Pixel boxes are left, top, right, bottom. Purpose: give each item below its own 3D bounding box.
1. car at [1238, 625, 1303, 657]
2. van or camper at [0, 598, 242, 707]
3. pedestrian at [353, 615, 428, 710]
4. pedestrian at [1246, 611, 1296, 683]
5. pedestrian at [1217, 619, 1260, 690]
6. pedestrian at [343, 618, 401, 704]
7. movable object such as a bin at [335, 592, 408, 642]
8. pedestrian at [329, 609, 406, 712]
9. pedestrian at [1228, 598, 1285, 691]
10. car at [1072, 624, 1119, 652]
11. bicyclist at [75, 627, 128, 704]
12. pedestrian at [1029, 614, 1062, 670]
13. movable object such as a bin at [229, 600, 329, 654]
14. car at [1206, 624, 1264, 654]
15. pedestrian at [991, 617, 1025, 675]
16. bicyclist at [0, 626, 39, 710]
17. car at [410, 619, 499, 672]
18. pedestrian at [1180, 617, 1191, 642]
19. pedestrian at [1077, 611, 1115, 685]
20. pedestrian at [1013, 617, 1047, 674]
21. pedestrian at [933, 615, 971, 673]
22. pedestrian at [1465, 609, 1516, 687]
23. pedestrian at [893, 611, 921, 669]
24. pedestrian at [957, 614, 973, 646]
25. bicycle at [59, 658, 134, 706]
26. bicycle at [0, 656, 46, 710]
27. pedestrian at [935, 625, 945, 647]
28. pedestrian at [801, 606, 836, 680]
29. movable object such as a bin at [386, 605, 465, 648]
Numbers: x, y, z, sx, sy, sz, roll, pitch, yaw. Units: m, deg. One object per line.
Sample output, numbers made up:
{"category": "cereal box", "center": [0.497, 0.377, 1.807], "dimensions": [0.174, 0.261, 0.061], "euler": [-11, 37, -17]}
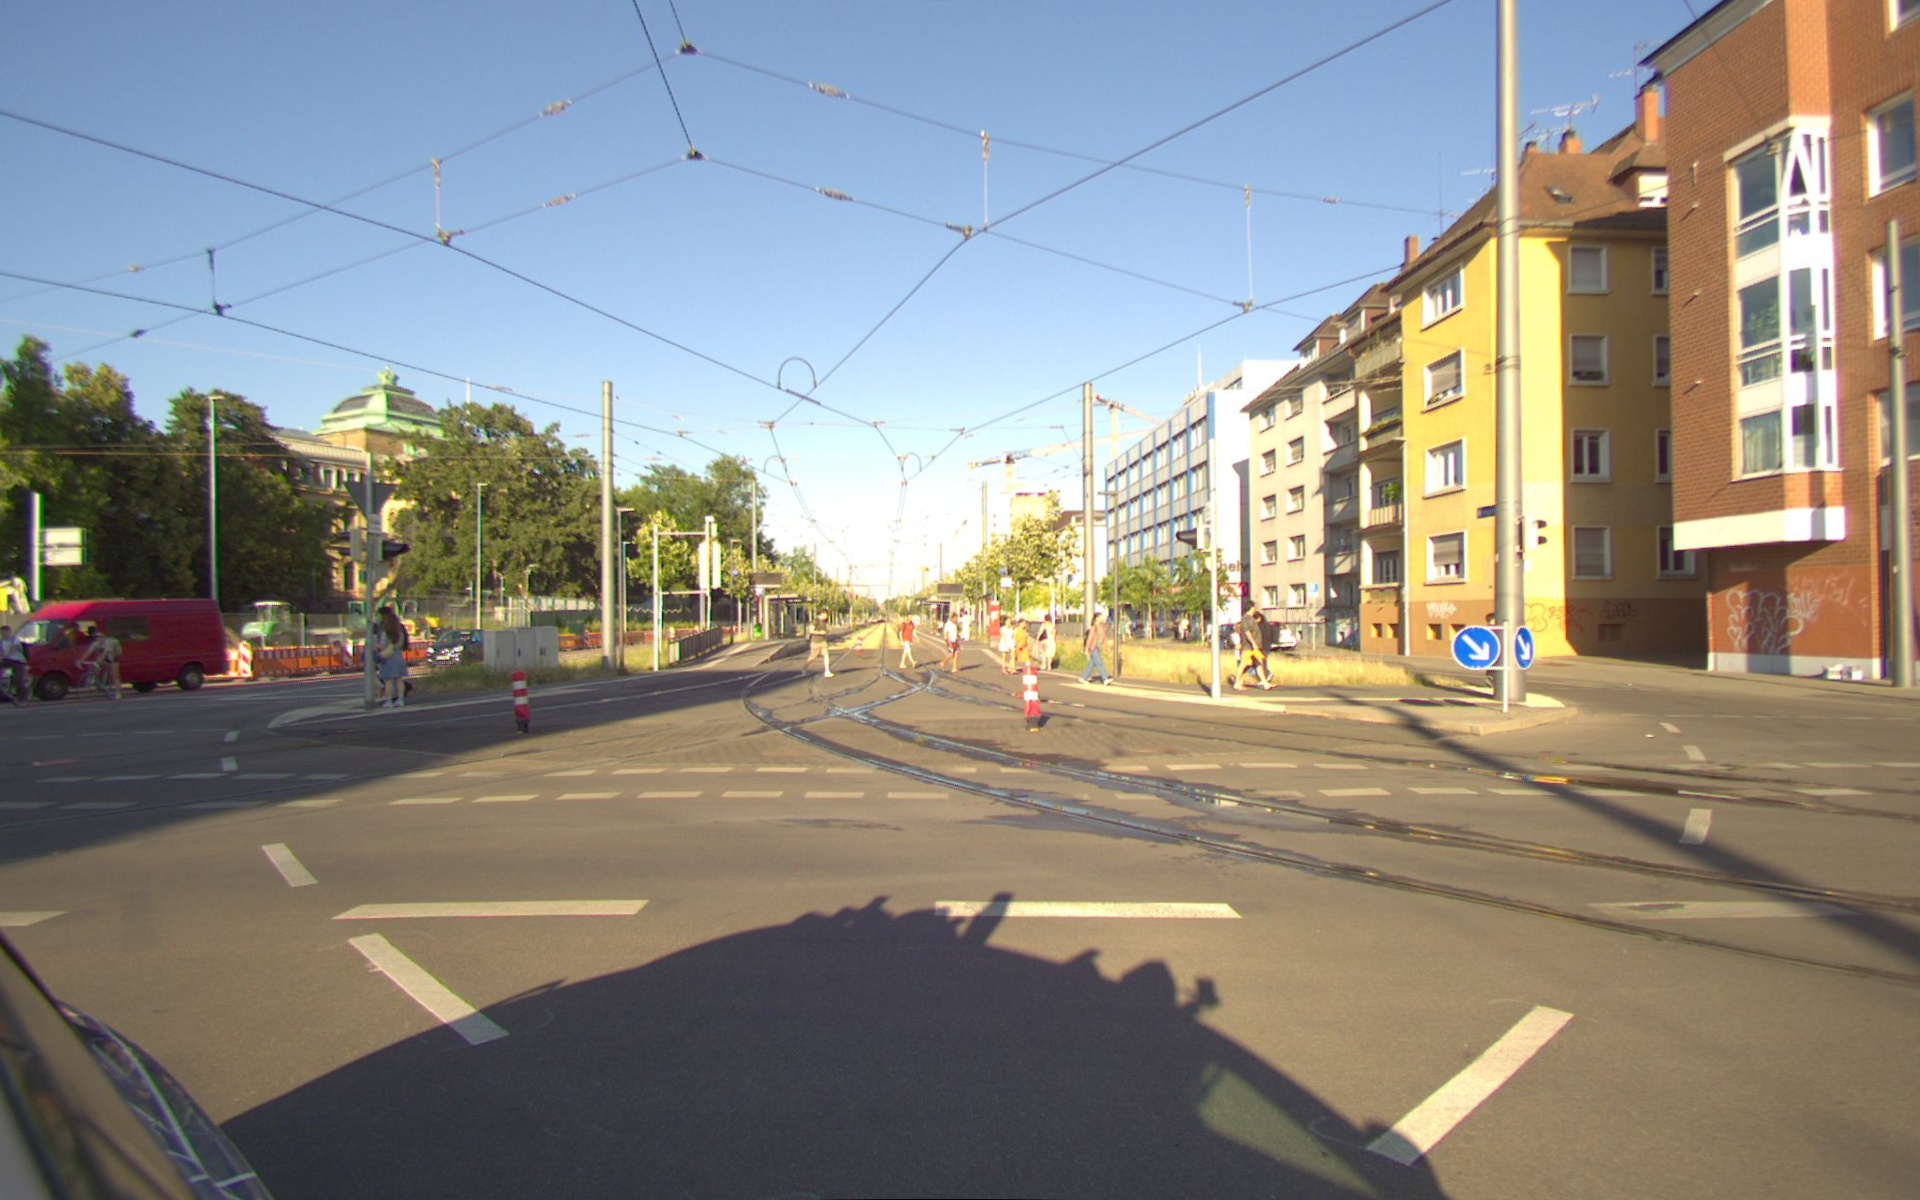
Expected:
{"category": "car", "center": [15.737, 2.055, 51.522], "dimensions": [1.859, 1.519, 3.678], "euler": [-2, -1, -5]}
{"category": "van or camper", "center": [-22.584, 1.283, 26.855], "dimensions": [1.980, 2.548, 5.888], "euler": [-3, -1, 14]}
{"category": "pedestrian", "center": [-10.311, 1.118, 18.339], "dimensions": [0.785, 1.653, 0.891], "euler": [-3, -1, 30]}
{"category": "pedestrian", "center": [7.151, 1.083, 23.295], "dimensions": [0.828, 1.596, 0.685], "euler": [-1, -1, -38]}
{"category": "pedestrian", "center": [5.669, 1.100, 20.576], "dimensions": [0.605, 1.370, 0.591], "euler": [-7, -2, 26]}
{"category": "pedestrian", "center": [-11.785, 1.207, 20.309], "dimensions": [0.776, 1.653, 0.620], "euler": [-2, -1, -6]}
{"category": "movable object such as a bin", "center": [-41.380, 1.200, 71.372], "dimensions": [1.972, 3.355, 5.374], "euler": [-2, -1, 0]}
{"category": "pedestrian", "center": [-10.883, 1.098, 18.591], "dimensions": [0.784, 1.814, 0.892], "euler": [-2, 0, 27]}
{"category": "pedestrian", "center": [5.824, 0.866, 19.880], "dimensions": [0.895, 1.771, 0.769], "euler": [-3, -1, 26]}
{"category": "car", "center": [7.973, 2.233, 59.749], "dimensions": [1.859, 1.519, 3.947], "euler": [-2, -1, -5]}
{"category": "bicyclist", "center": [-20.459, 1.547, 24.131], "dimensions": [0.606, 1.759, 0.794], "euler": [-2, -1, -9]}
{"category": "pedestrian", "center": [2.499, 1.212, 29.434], "dimensions": [0.679, 1.596, 0.835], "euler": [-3, -1, 23]}
{"category": "movable object such as a bin", "center": [-36.290, 1.429, 54.098], "dimensions": [1.972, 2.704, 5.013], "euler": [-2, -1, 0]}
{"category": "car", "center": [15.264, 2.159, 56.369], "dimensions": [1.859, 1.519, 3.678], "euler": [-2, -1, -5]}
{"category": "pedestrian", "center": [1.240, 1.190, 26.229], "dimensions": [0.627, 1.467, 0.526], "euler": [-1, -1, -34]}
{"category": "bicyclist", "center": [-20.638, 1.459, 21.906], "dimensions": [0.534, 1.781, 1.062], "euler": [-2, -1, -9]}
{"category": "car", "center": [-20.878, 1.847, 41.992], "dimensions": [1.969, 2.029, 4.005], "euler": [-2, -1, -6]}
{"category": "pedestrian", "center": [16.665, 2.181, 74.902], "dimensions": [0.637, 1.759, 0.598], "euler": [-2, -1, 2]}
{"category": "pedestrian", "center": [2.942, 1.033, 21.837], "dimensions": [0.615, 1.547, 0.783], "euler": [-3, -1, 20]}
{"category": "pedestrian", "center": [1.832, 1.190, 26.548], "dimensions": [0.627, 1.443, 0.526], "euler": [-2, -1, -33]}
{"category": "pedestrian", "center": [-0.236, 1.231, 28.132], "dimensions": [0.775, 1.561, 0.621], "euler": [1, -6, -37]}
{"category": "pedestrian", "center": [11.214, 1.018, 21.403], "dimensions": [0.782, 1.600, 0.605], "euler": [-3, -1, 18]}
{"category": "pedestrian", "center": [-1.629, 1.224, 30.915], "dimensions": [0.776, 1.711, 0.620], "euler": [-2, -1, -1]}
{"category": "pedestrian", "center": [0.256, 1.622, 55.101], "dimensions": [0.776, 1.685, 0.620], "euler": [-2, -1, -1]}
{"category": "bicycle", "center": [-20.460, 1.924, 24.013], "dimensions": [0.534, 1.009, 1.697], "euler": [-2, -1, -9]}
{"category": "bicycle", "center": [-20.579, 1.786, 21.701], "dimensions": [0.534, 1.109, 1.812], "euler": [-2, -1, -9]}
{"category": "pedestrian", "center": [-1.535, 2.752, 77.728], "dimensions": [0.650, 1.705, 0.773], "euler": [-2, -1, -6]}
{"category": "pedestrian", "center": [-3.717, 1.124, 26.666], "dimensions": [0.776, 1.878, 0.620], "euler": [-2, -1, -1]}
{"category": "movable object such as a bin", "center": [-37.631, 1.835, 71.424], "dimensions": [1.975, 2.837, 5.857], "euler": [-2, -1, 5]}
